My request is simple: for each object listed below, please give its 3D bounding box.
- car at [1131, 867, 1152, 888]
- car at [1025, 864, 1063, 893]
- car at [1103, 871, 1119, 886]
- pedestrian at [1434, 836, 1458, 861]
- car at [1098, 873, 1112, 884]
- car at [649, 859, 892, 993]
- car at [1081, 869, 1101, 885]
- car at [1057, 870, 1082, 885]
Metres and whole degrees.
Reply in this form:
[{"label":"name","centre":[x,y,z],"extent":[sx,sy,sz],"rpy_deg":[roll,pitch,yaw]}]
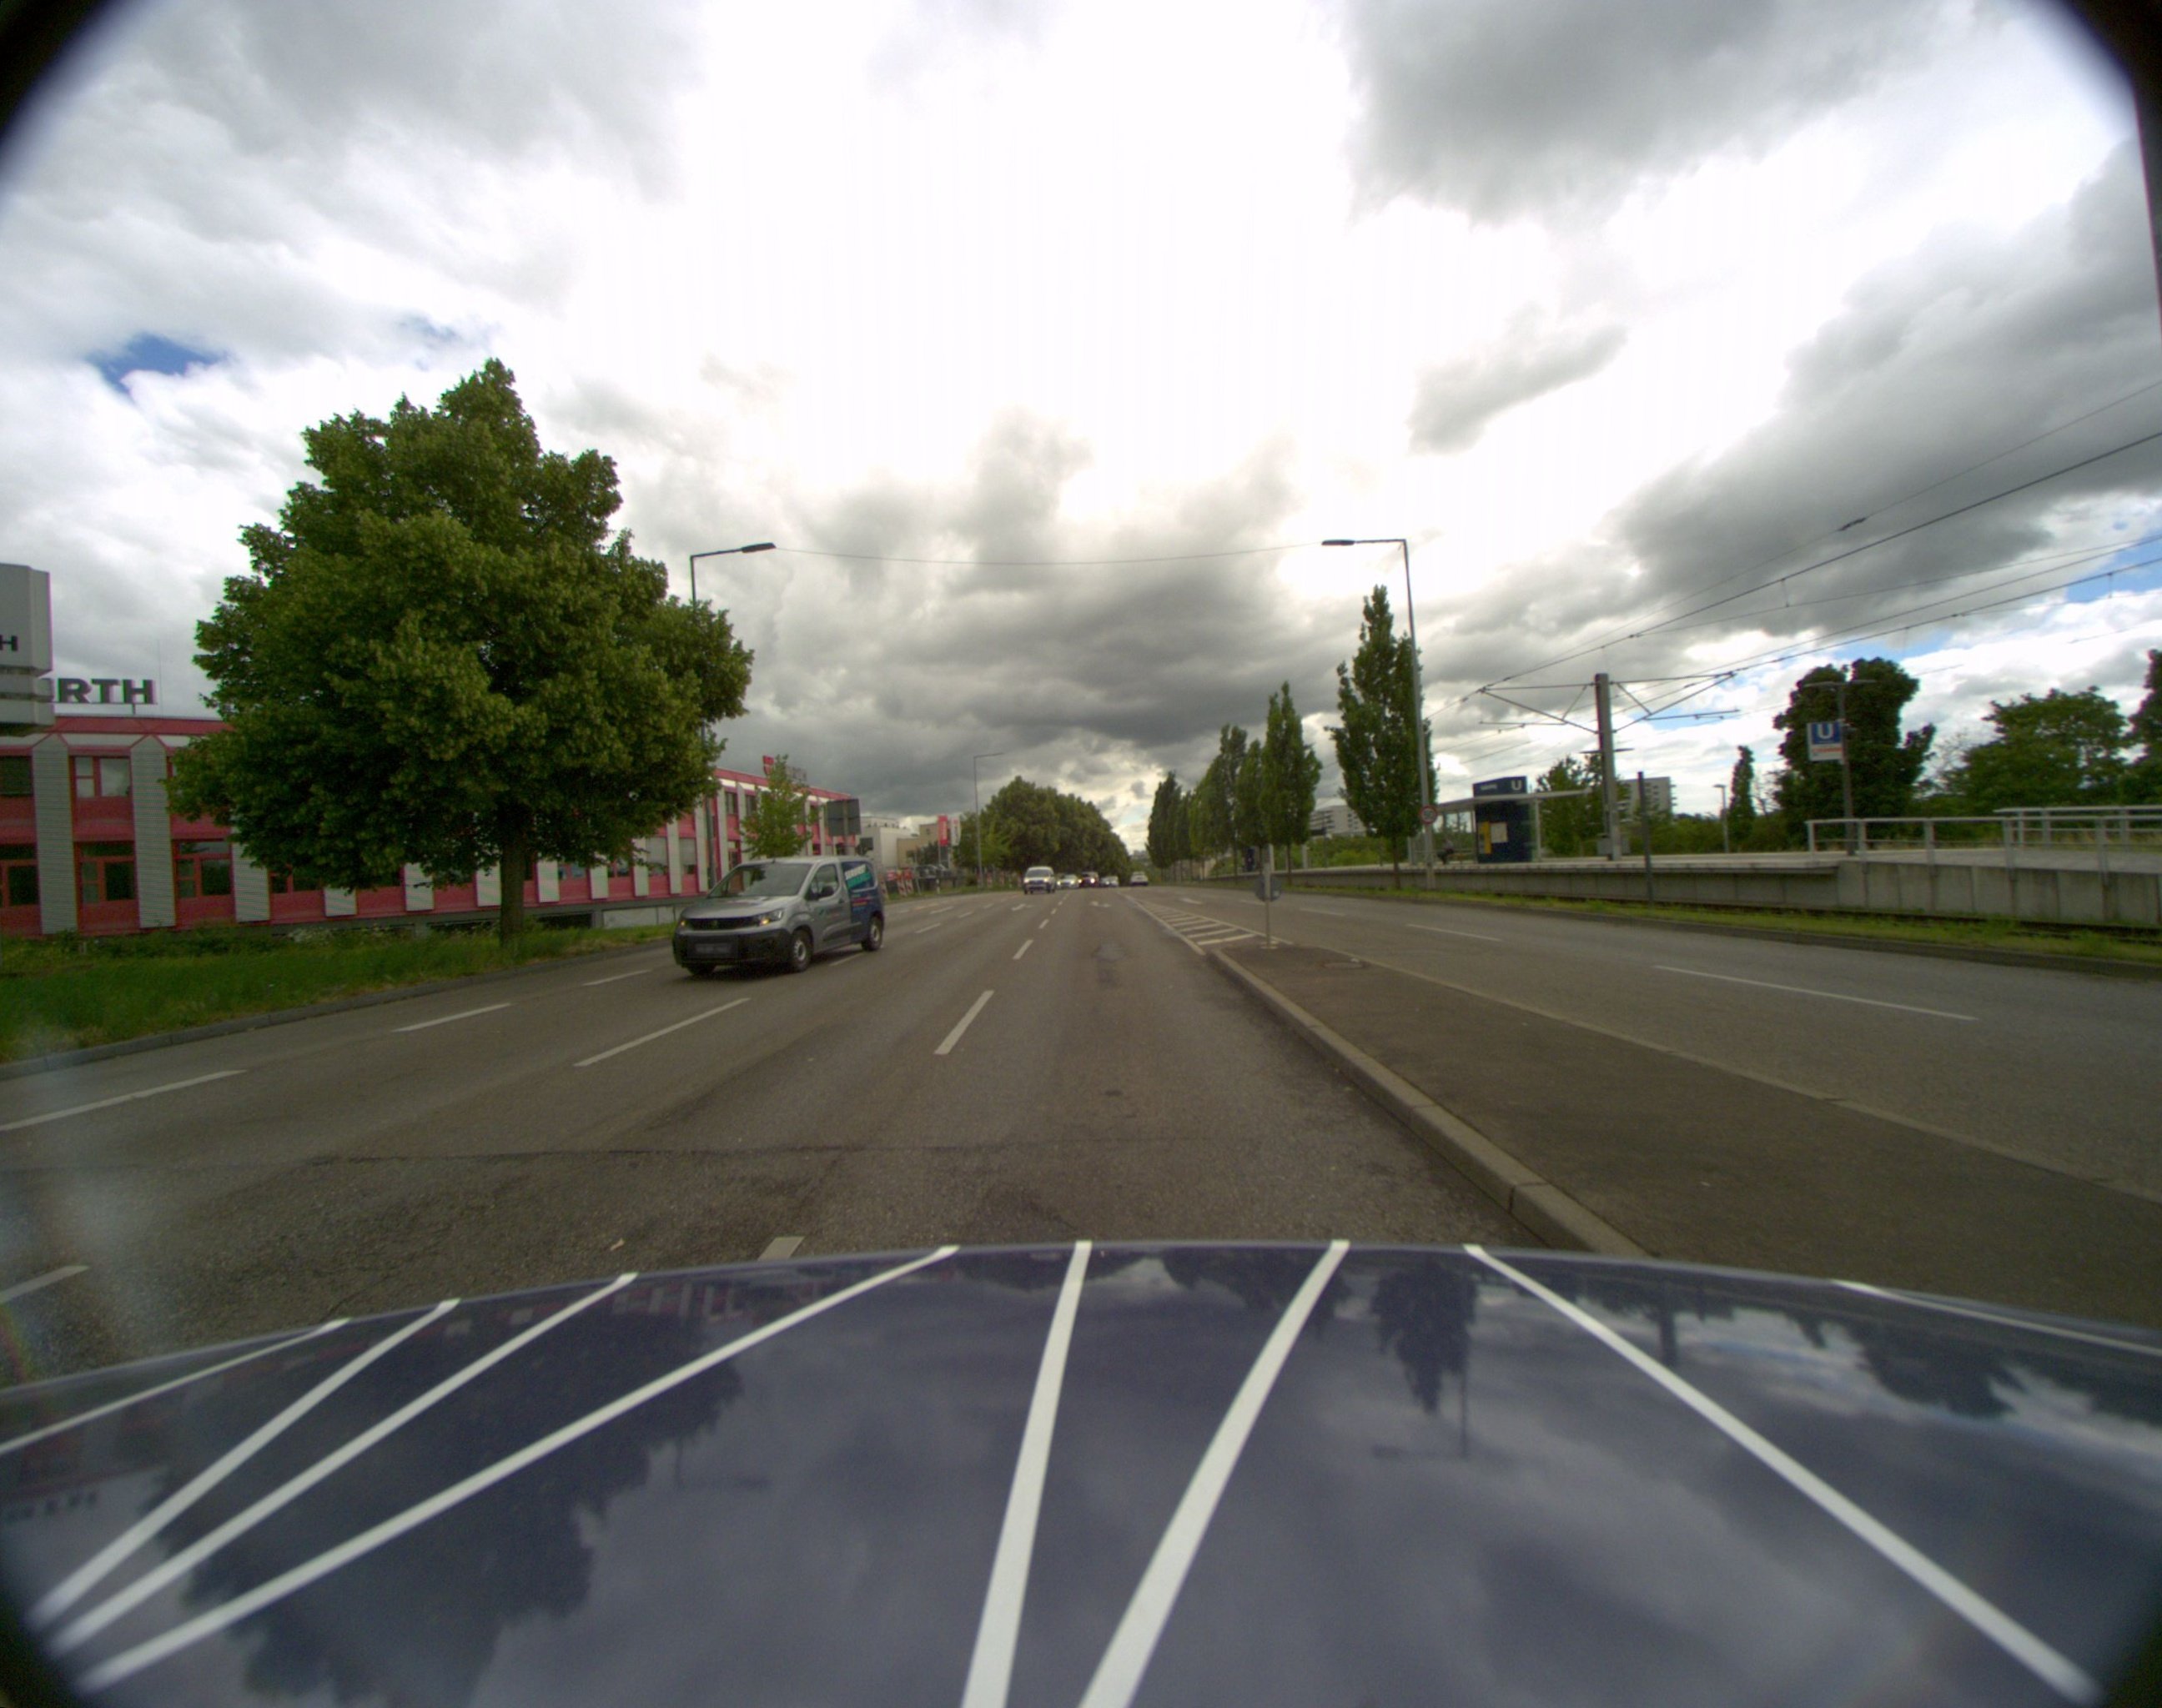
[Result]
[{"label":"car","centre":[6.474,2.514,81.957],"extent":[1.998,2.002,4.000],"rpy_deg":[-2,0,3]},{"label":"car","centre":[-2.442,1.602,51.227],"extent":[1.812,1.781,4.699],"rpy_deg":[-2,-1,6]},{"label":"car","centre":[4.465,3.668,113.078],"extent":[1.949,1.895,5.239],"rpy_deg":[-2,0,6]},{"label":"pedestrian","centre":[17.719,-0.258,36.893],"extent":[0.751,1.169,0.837],"rpy_deg":[-2,1,0]},{"label":"car","centre":[3.276,3.370,103.657],"extent":[1.813,1.332,4.225],"rpy_deg":[-2,-3,2]},{"label":"car","centre":[-4.856,1.031,12.660],"extent":[1.812,1.769,4.224],"rpy_deg":[-2,0,8]},{"label":"car","centre":[1.213,2.861,93.441],"extent":[2.184,1.893,4.456],"rpy_deg":[-2,-3,-1]},{"label":"car","centre":[-1.063,2.275,73.494],"extent":[1.812,1.332,4.226],"rpy_deg":[-2,-3,6]}]
